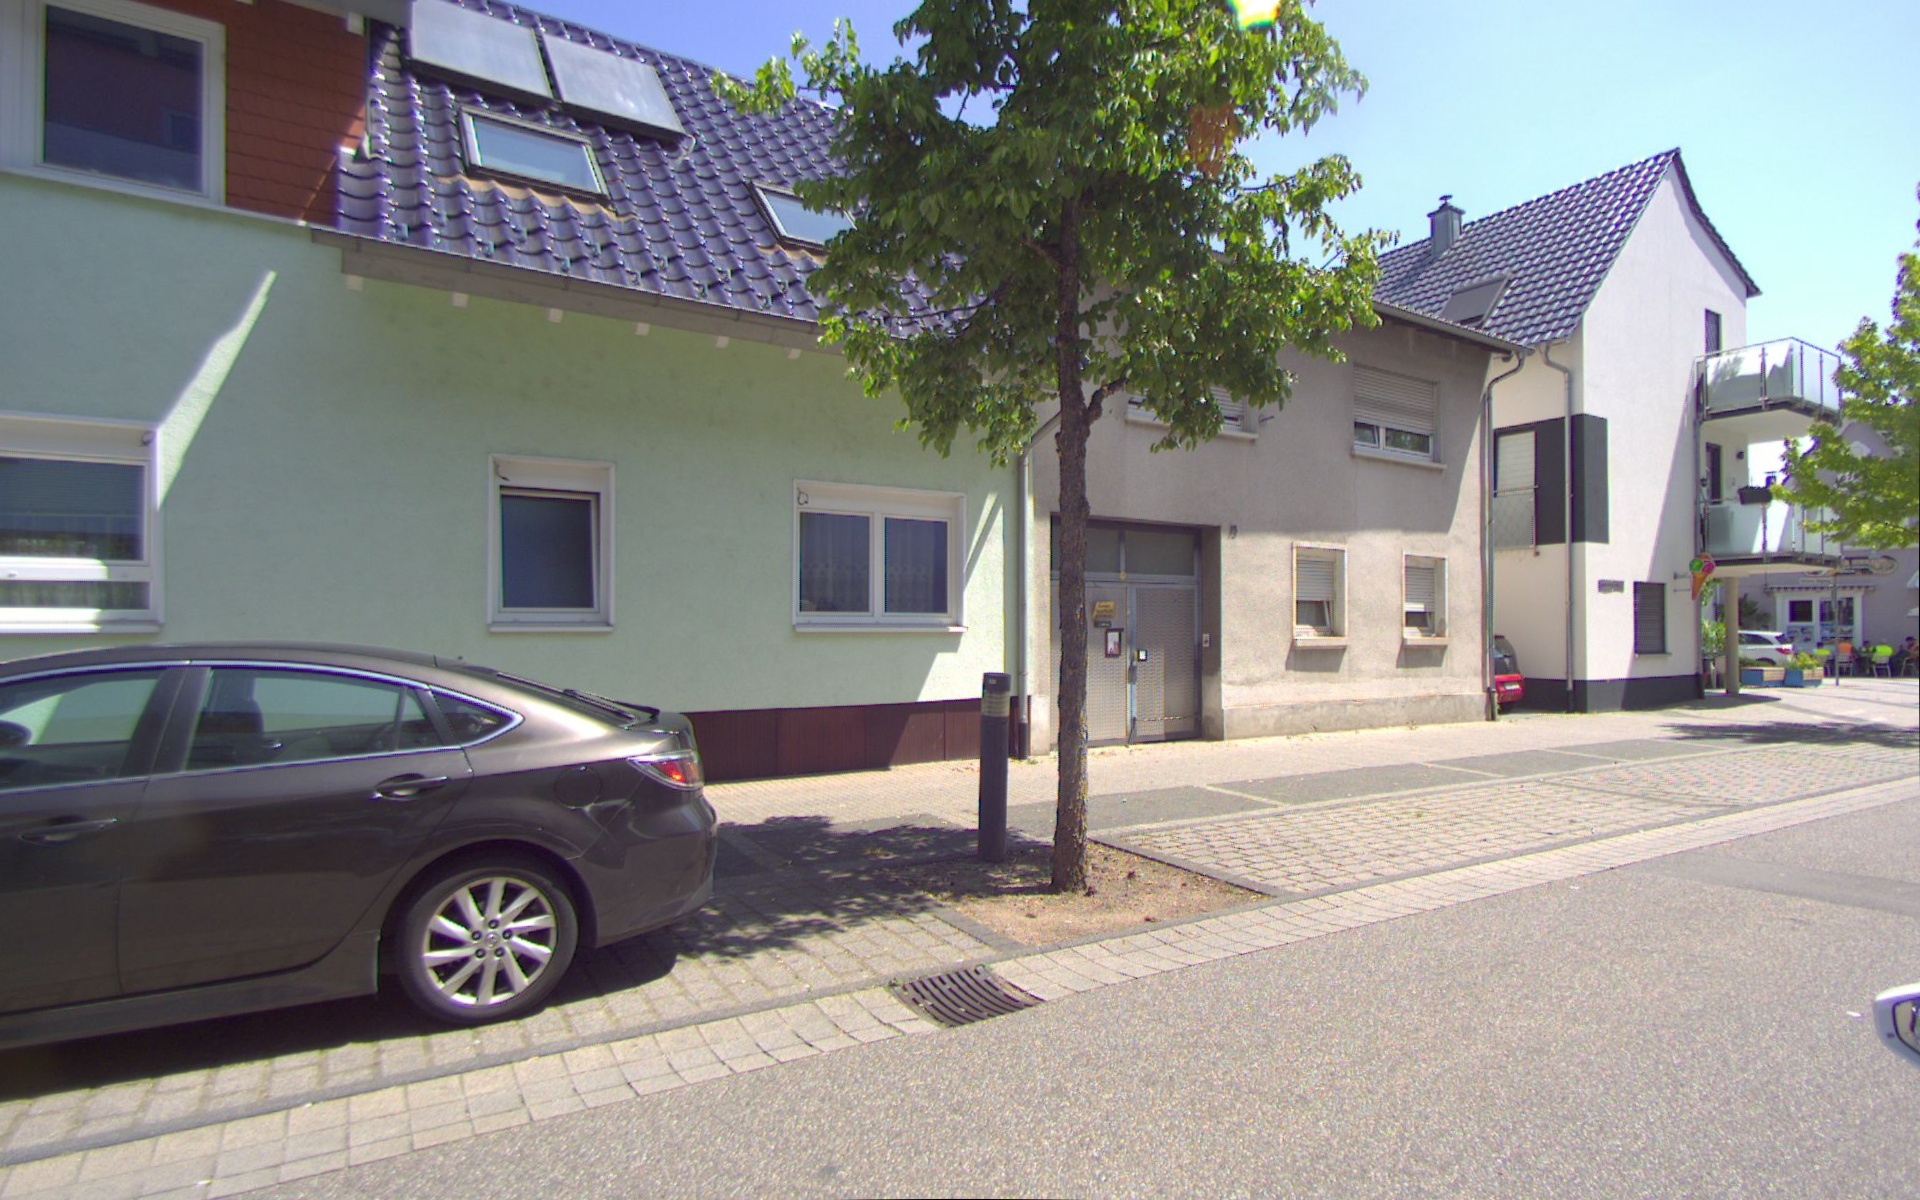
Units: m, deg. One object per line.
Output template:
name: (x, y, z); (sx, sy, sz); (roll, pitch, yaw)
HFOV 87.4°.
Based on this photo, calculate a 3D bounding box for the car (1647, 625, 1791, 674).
car: (26.294, 1.698, 34.871); (3.873, 1.566, 1.509); (-2, -1, 42)

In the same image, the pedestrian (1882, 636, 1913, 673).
pedestrian: (31.108, 1.807, 33.342); (0.690, 1.194, 0.618); (1, -2, -36)

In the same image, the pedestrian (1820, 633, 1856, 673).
pedestrian: (29.648, 1.779, 33.928); (0.623, 1.306, 0.790); (2, 0, 15)

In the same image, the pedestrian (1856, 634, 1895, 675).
pedestrian: (30.040, 1.777, 32.966); (0.623, 1.306, 0.790); (2, 0, 15)

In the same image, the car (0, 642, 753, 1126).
car: (-3.227, 0.913, 3.892); (4.483, 1.455, 1.654); (1, -2, -29)

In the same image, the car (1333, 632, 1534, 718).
car: (8.891, 1.349, 19.035); (1.572, 1.462, 3.093); (1, -2, -36)

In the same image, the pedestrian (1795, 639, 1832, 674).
pedestrian: (28.842, 1.894, 33.952); (0.623, 1.131, 0.790); (2, 0, 15)
